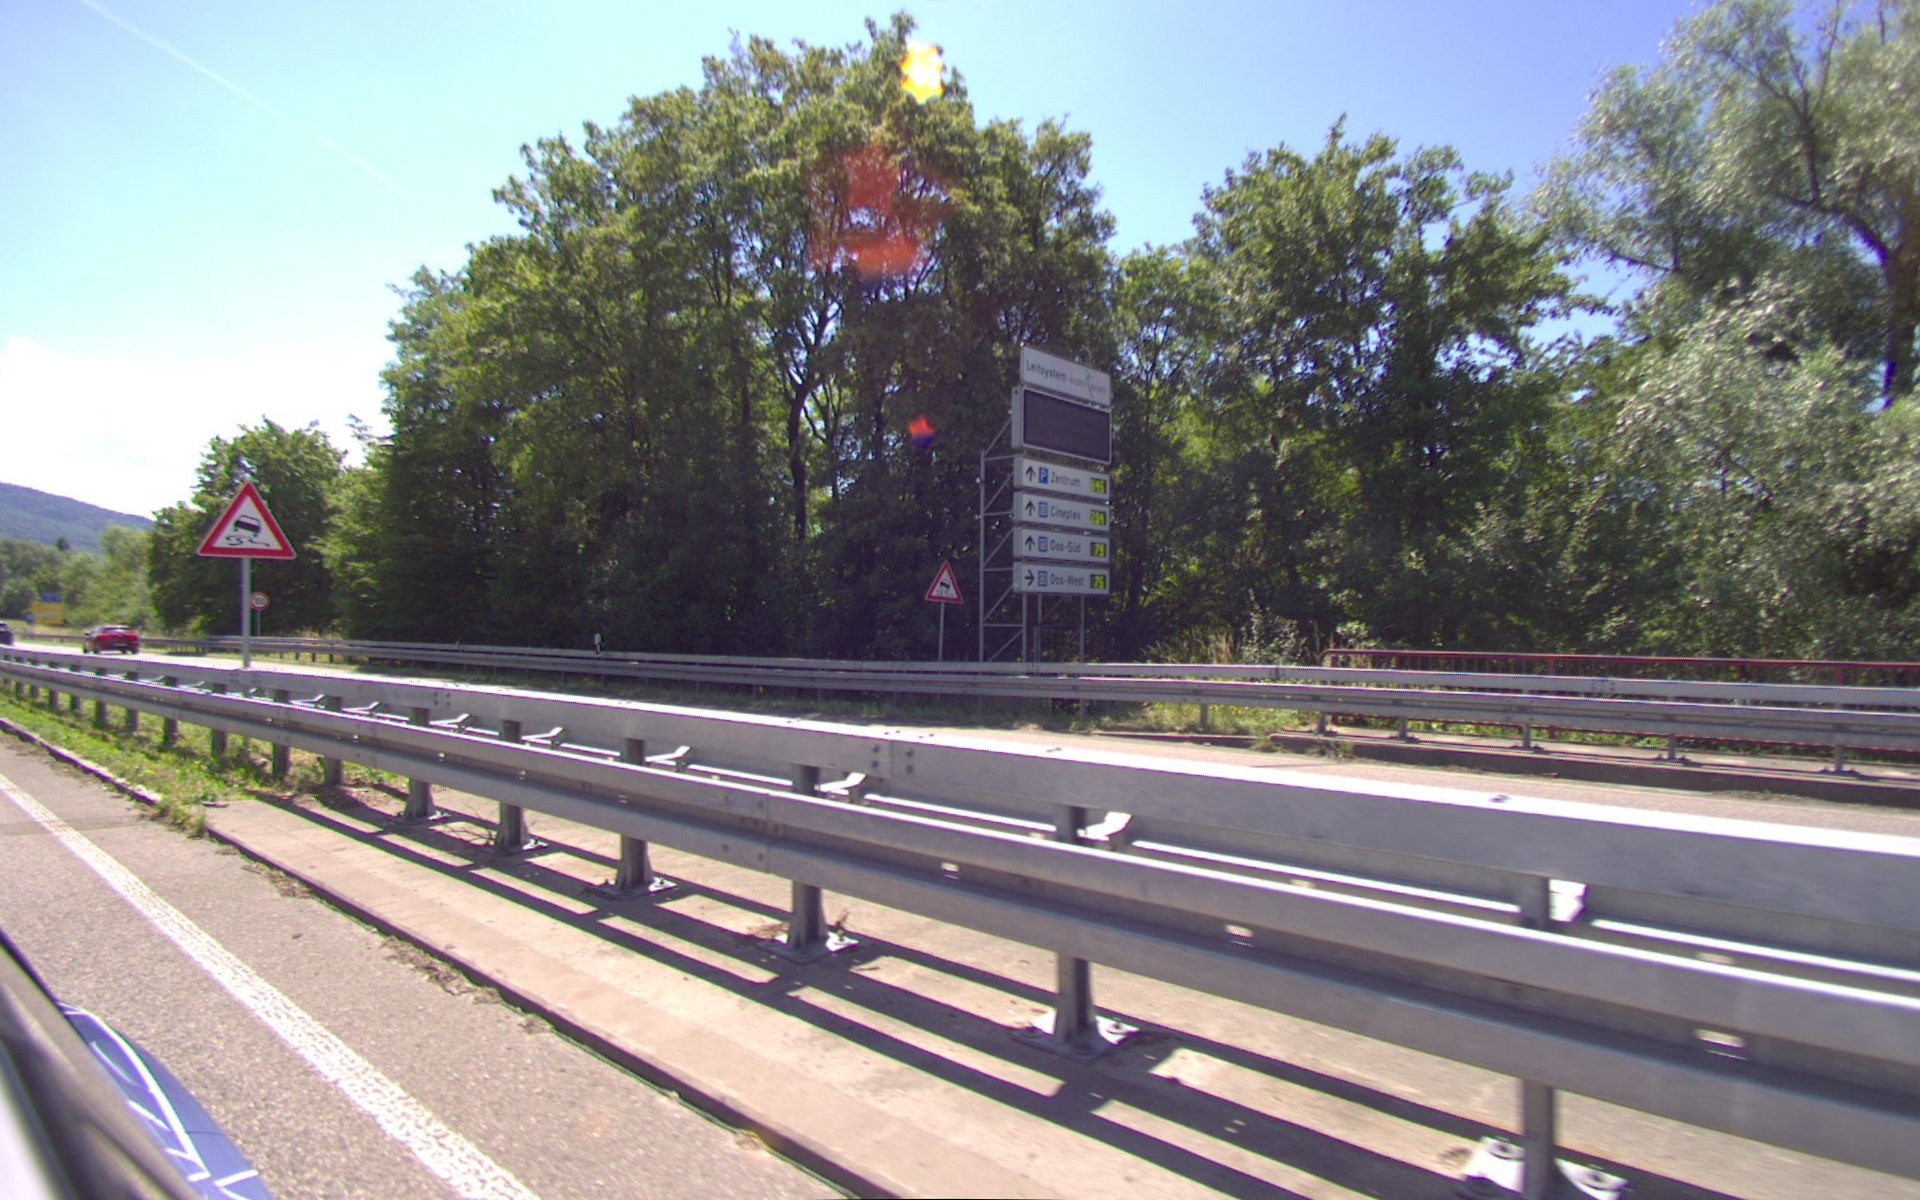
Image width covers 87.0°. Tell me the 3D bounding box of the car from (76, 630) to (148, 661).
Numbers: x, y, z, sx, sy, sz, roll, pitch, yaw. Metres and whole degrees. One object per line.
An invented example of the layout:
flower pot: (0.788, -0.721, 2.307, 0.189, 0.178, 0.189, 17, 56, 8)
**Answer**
car: (-42.723, 2.270, 50.951, 5.441, 1.505, 1.973, -2, -3, 41)

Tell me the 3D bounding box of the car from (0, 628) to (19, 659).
car: (-52.190, 2.326, 54.358, 4.387, 1.674, 1.973, -2, -3, 41)
